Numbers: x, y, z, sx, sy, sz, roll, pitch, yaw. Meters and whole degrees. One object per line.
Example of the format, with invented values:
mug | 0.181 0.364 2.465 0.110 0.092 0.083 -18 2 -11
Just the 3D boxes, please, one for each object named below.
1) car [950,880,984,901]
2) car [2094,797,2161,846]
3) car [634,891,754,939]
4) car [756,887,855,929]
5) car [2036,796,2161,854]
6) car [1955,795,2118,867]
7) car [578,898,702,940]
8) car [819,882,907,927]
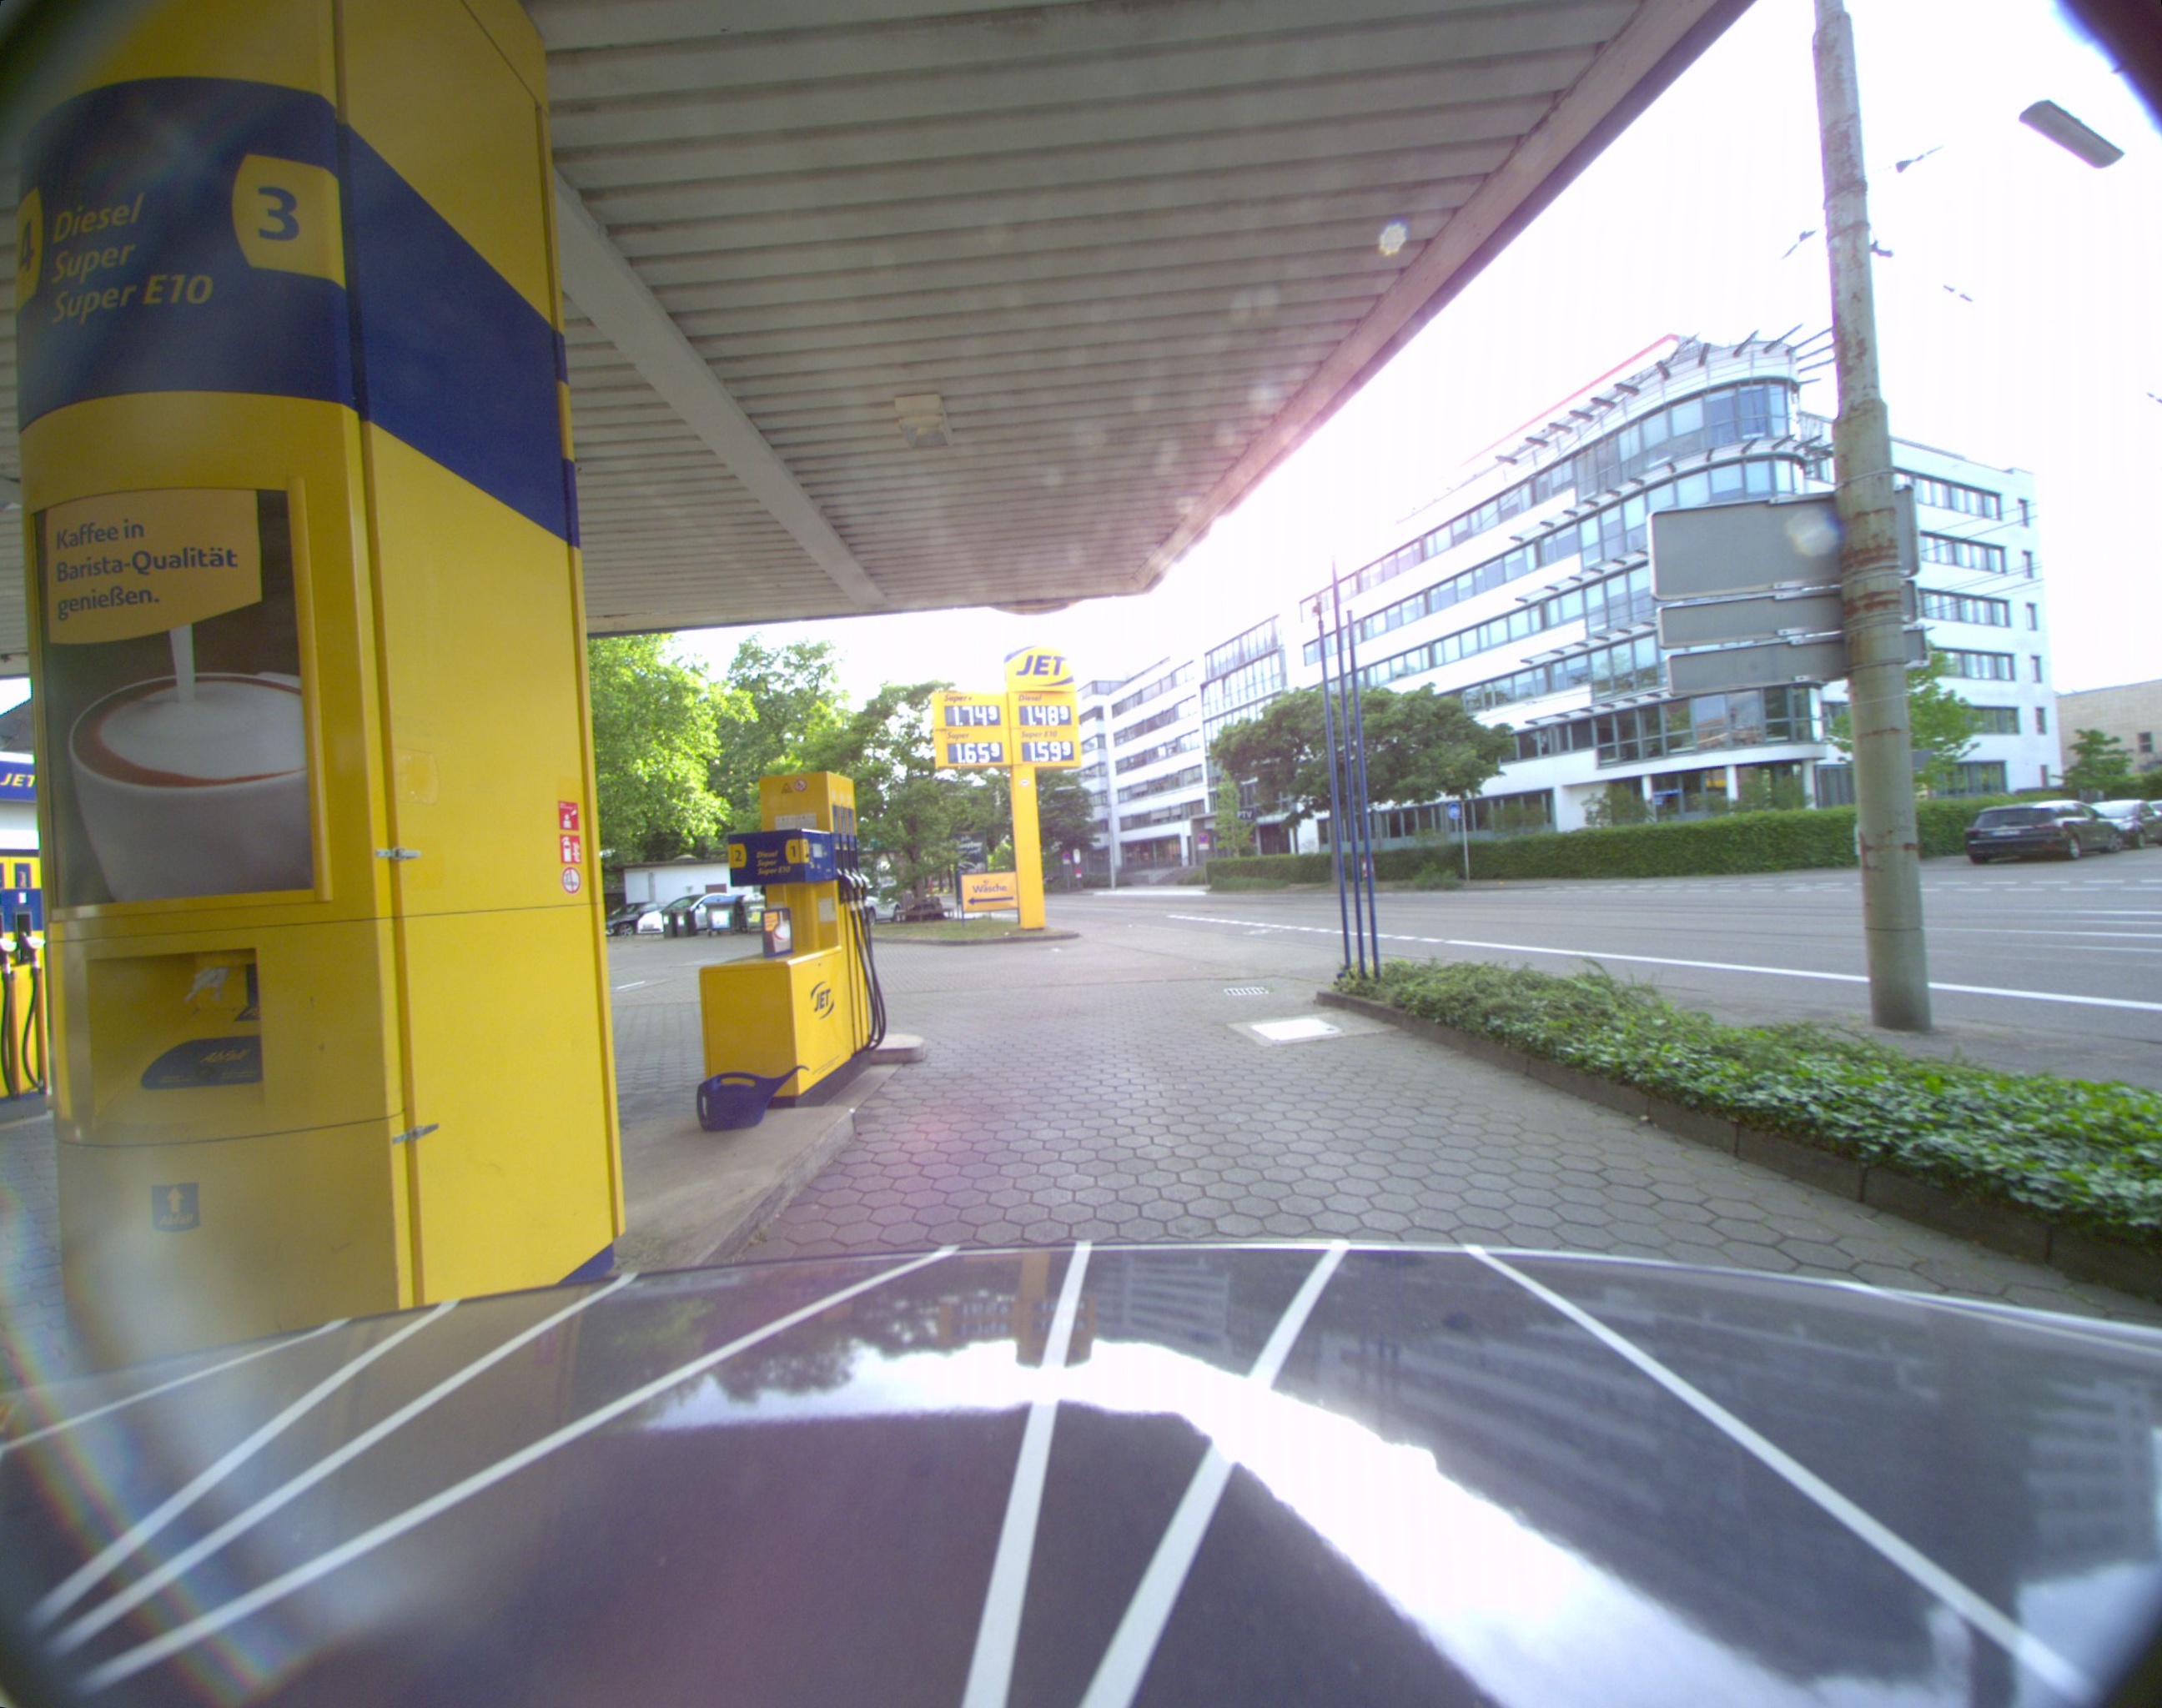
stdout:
car | -8.701 2.790 58.001 1.691 1.424 3.422 -4 -1 -23
car | 37.125 -1.198 26.139 4.296 1.509 1.945 -4 -1 -27
car | -15.294 2.368 30.307 1.771 1.591 4.398 -2 -1 14
car | -11.656 2.270 32.486 1.771 1.591 4.400 -4 -4 13
car | 32.543 -0.941 24.087 4.296 1.530 1.945 -4 -1 -27
car | 27.272 -0.664 21.685 4.296 1.681 2.010 -4 -1 -27
car | -17.796 2.594 30.901 1.771 1.367 4.398 -2 -1 14
car | -8.638 2.005 30.496 1.772 1.591 4.398 -4 -3 6
